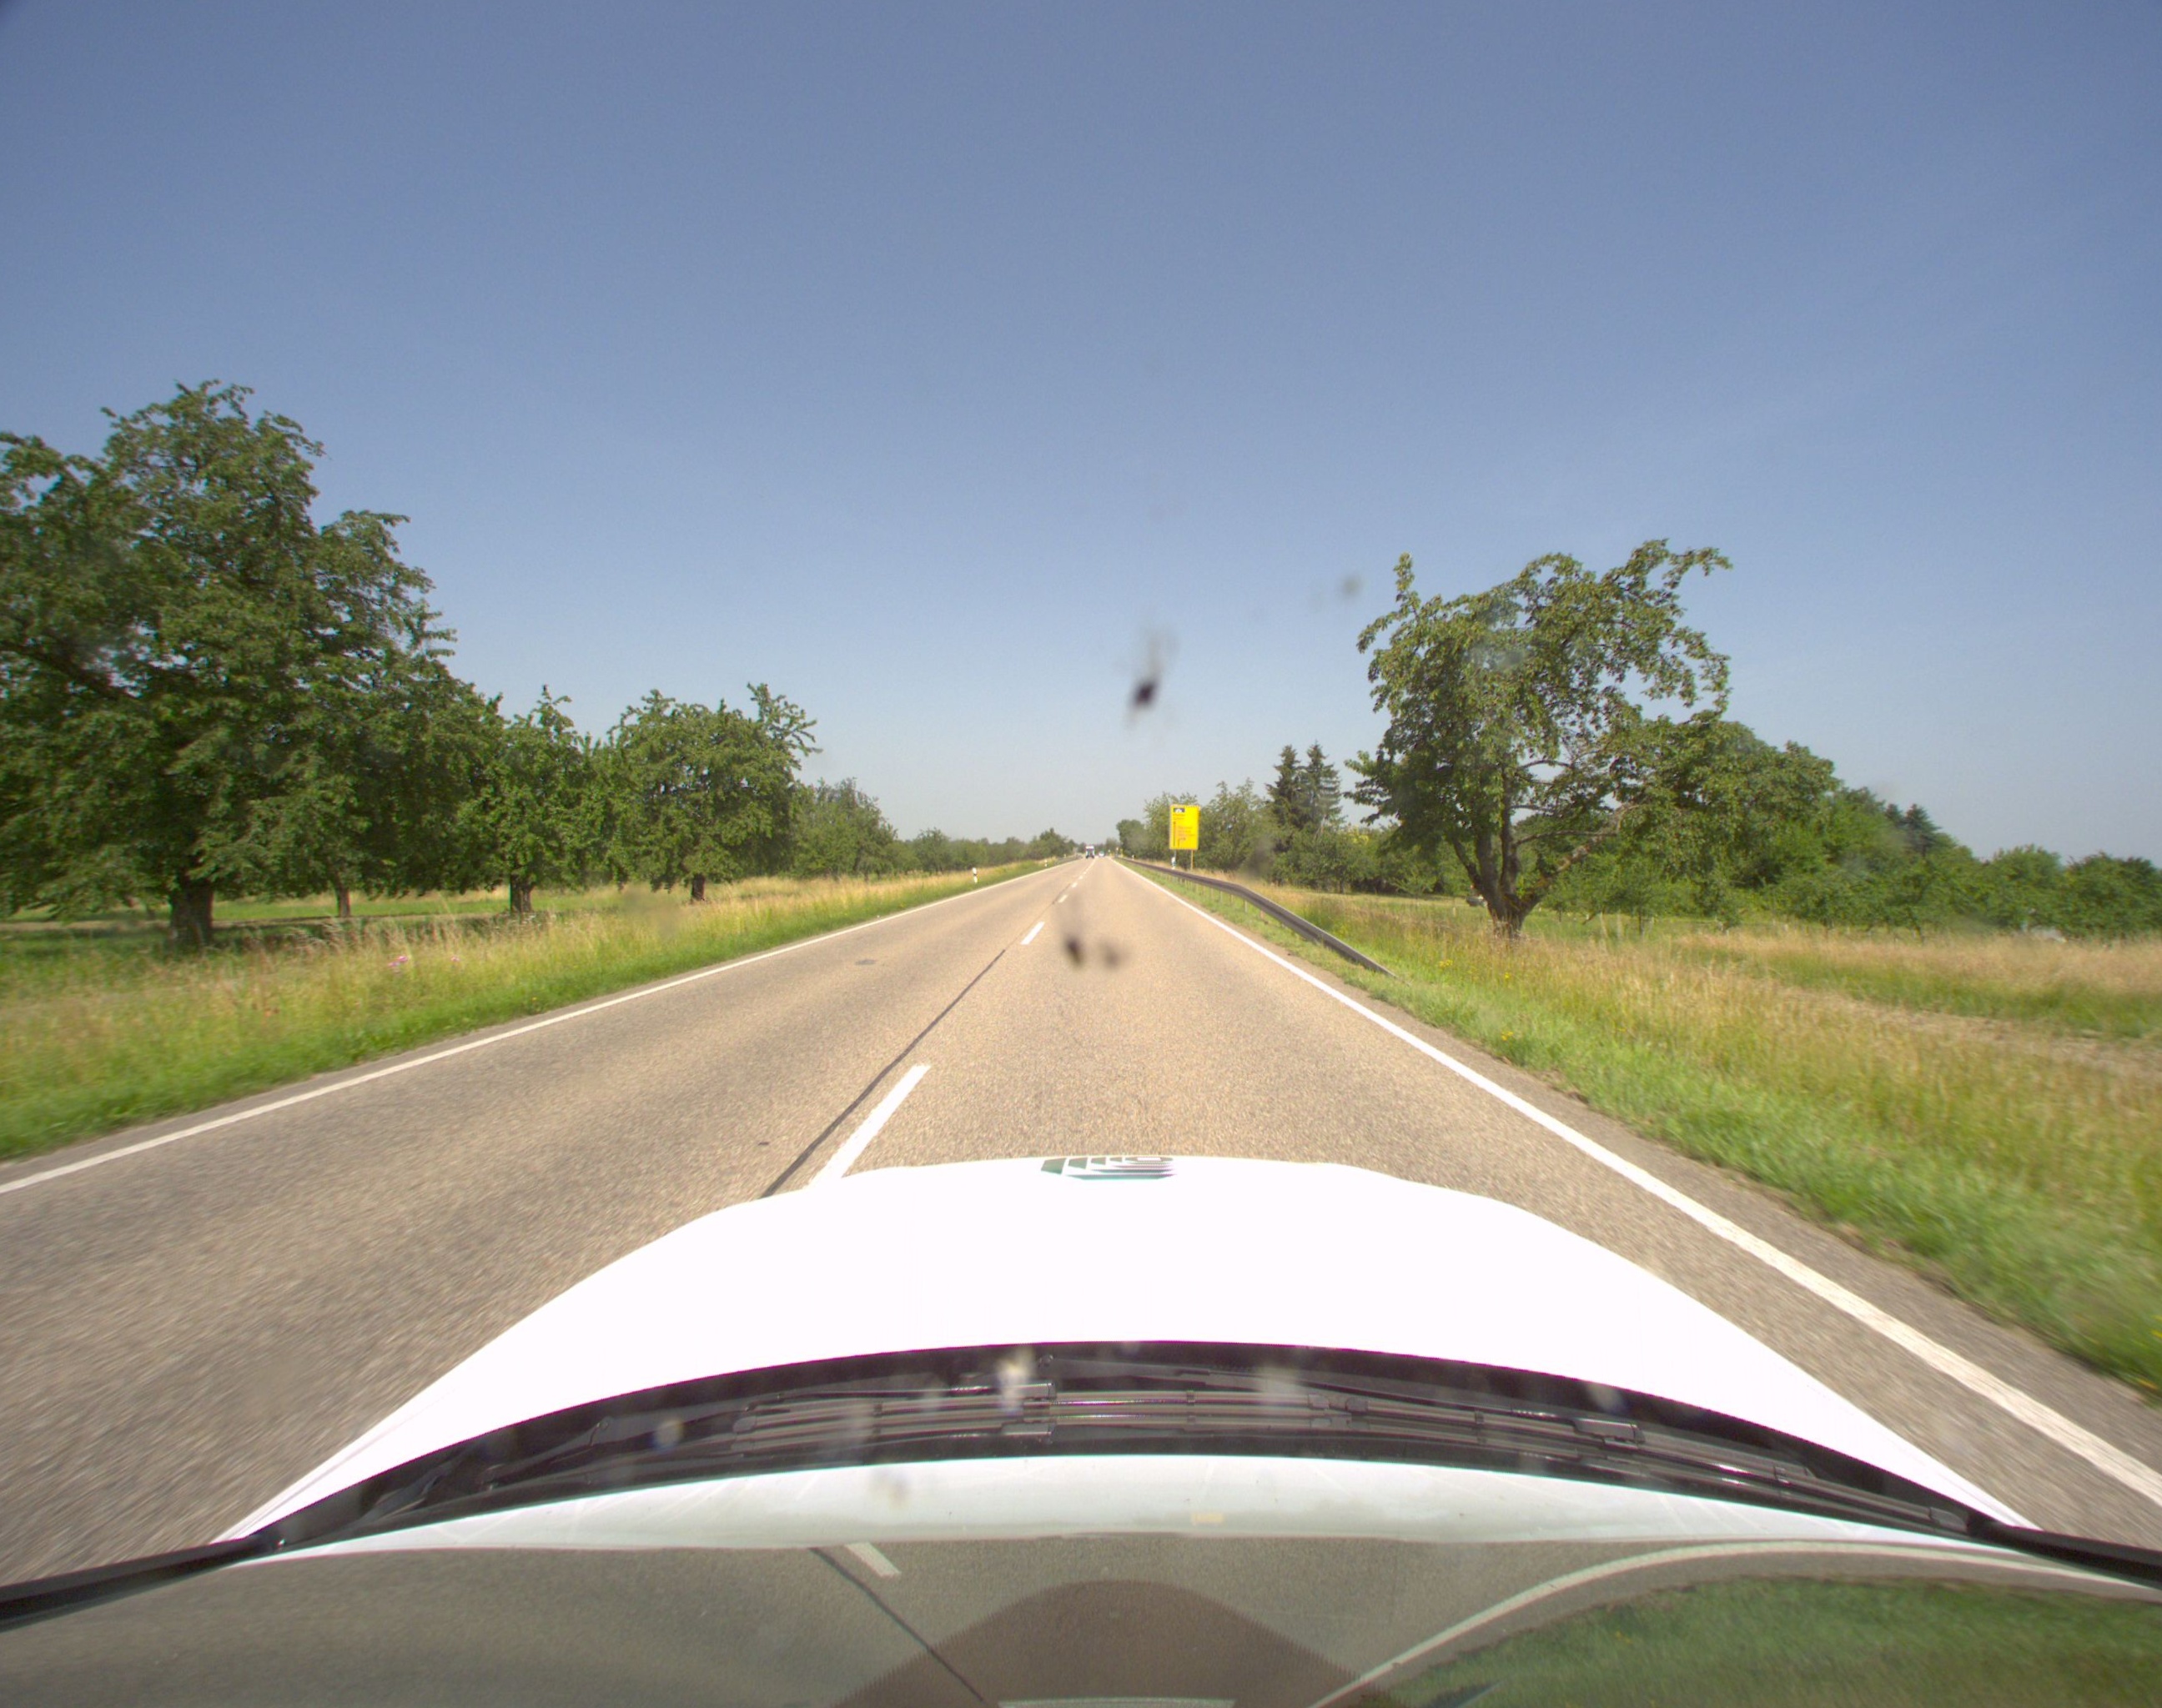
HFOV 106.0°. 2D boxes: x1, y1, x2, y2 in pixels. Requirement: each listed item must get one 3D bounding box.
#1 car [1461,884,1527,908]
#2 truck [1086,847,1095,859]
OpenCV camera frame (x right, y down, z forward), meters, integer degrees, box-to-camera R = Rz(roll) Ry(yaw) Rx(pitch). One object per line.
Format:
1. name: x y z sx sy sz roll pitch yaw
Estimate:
1. car: 31.331 3.142 61.799 4.075 1.534 1.852 3 -1 -8
2. truck: 2.869 -0.250 239.617 2.718 3.672 9.385 0 -1 1
